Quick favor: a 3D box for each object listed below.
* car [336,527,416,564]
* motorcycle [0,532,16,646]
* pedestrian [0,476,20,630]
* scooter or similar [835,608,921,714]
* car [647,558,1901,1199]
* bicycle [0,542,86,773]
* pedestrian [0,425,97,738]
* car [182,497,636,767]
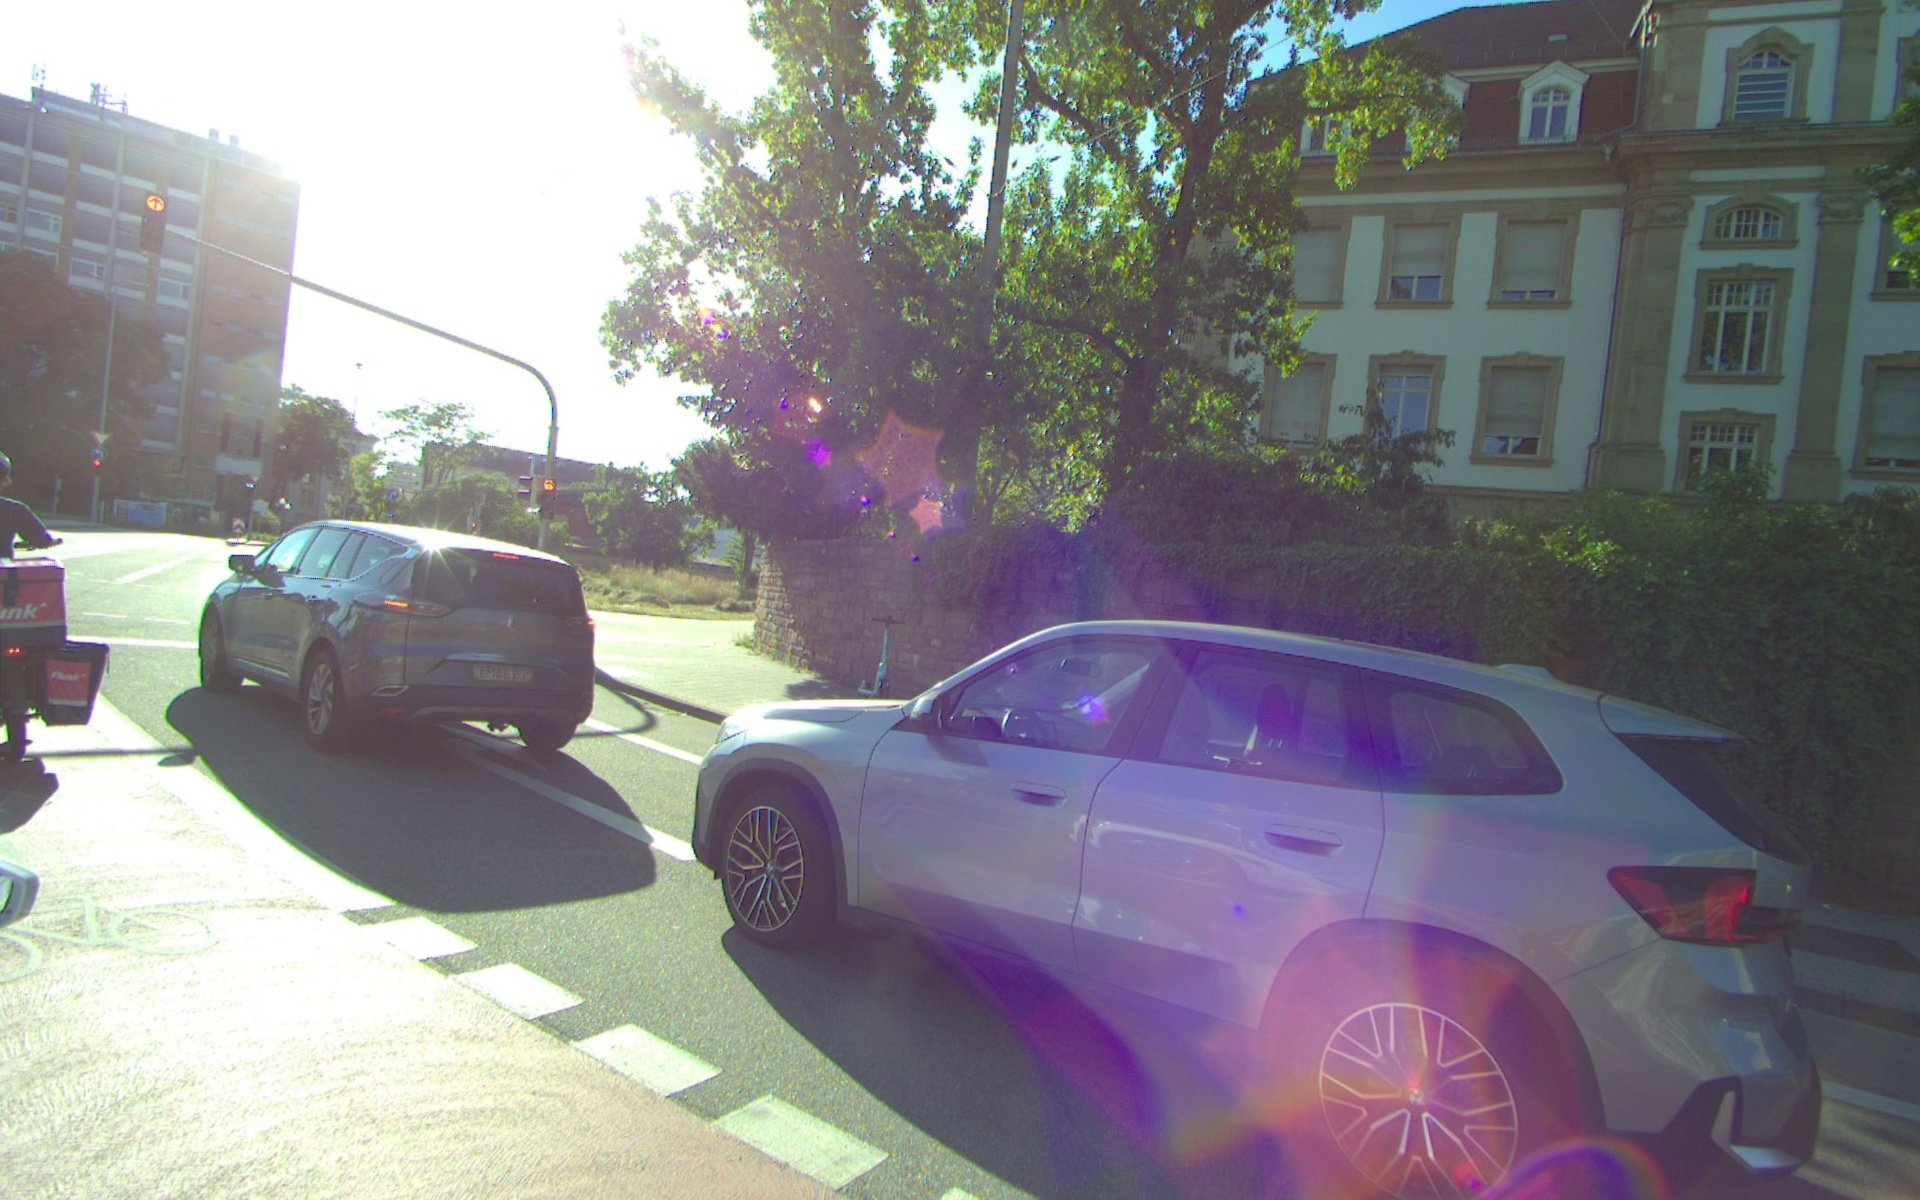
[{"bbox_3d":[-41.115,-3.834,70.880,4.660,1.969,1.898,7,0,-34],"label":"car"},{"bbox_3d":[-8.938,-0.082,8.922,0.611,1.110,2.334,8,-2,-41],"label":"motorcycle"},{"bbox_3d":[-8.713,-0.301,8.748,0.585,1.617,1.013,8,-1,-41],"label":"pedestrian"},{"bbox_3d":[-1.158,0.819,13.882,0.569,1.285,1.414,6,0,-27],"label":"scooter or similar"},{"bbox_3d":[0.823,0.882,4.243,4.263,1.612,1.788,6,-2,37],"label":"car"},{"bbox_3d":[-5.993,0.256,6.179,2.340,1.185,0.553,6,-2,42],"label":"bicycle"},{"bbox_3d":[-6.219,-0.146,6.394,0.943,1.890,0.806,6,-1,40],"label":"pedestrian"},{"bbox_3d":[-4.840,0.163,8.556,4.307,1.709,1.830,6,-2,40],"label":"car"}]
